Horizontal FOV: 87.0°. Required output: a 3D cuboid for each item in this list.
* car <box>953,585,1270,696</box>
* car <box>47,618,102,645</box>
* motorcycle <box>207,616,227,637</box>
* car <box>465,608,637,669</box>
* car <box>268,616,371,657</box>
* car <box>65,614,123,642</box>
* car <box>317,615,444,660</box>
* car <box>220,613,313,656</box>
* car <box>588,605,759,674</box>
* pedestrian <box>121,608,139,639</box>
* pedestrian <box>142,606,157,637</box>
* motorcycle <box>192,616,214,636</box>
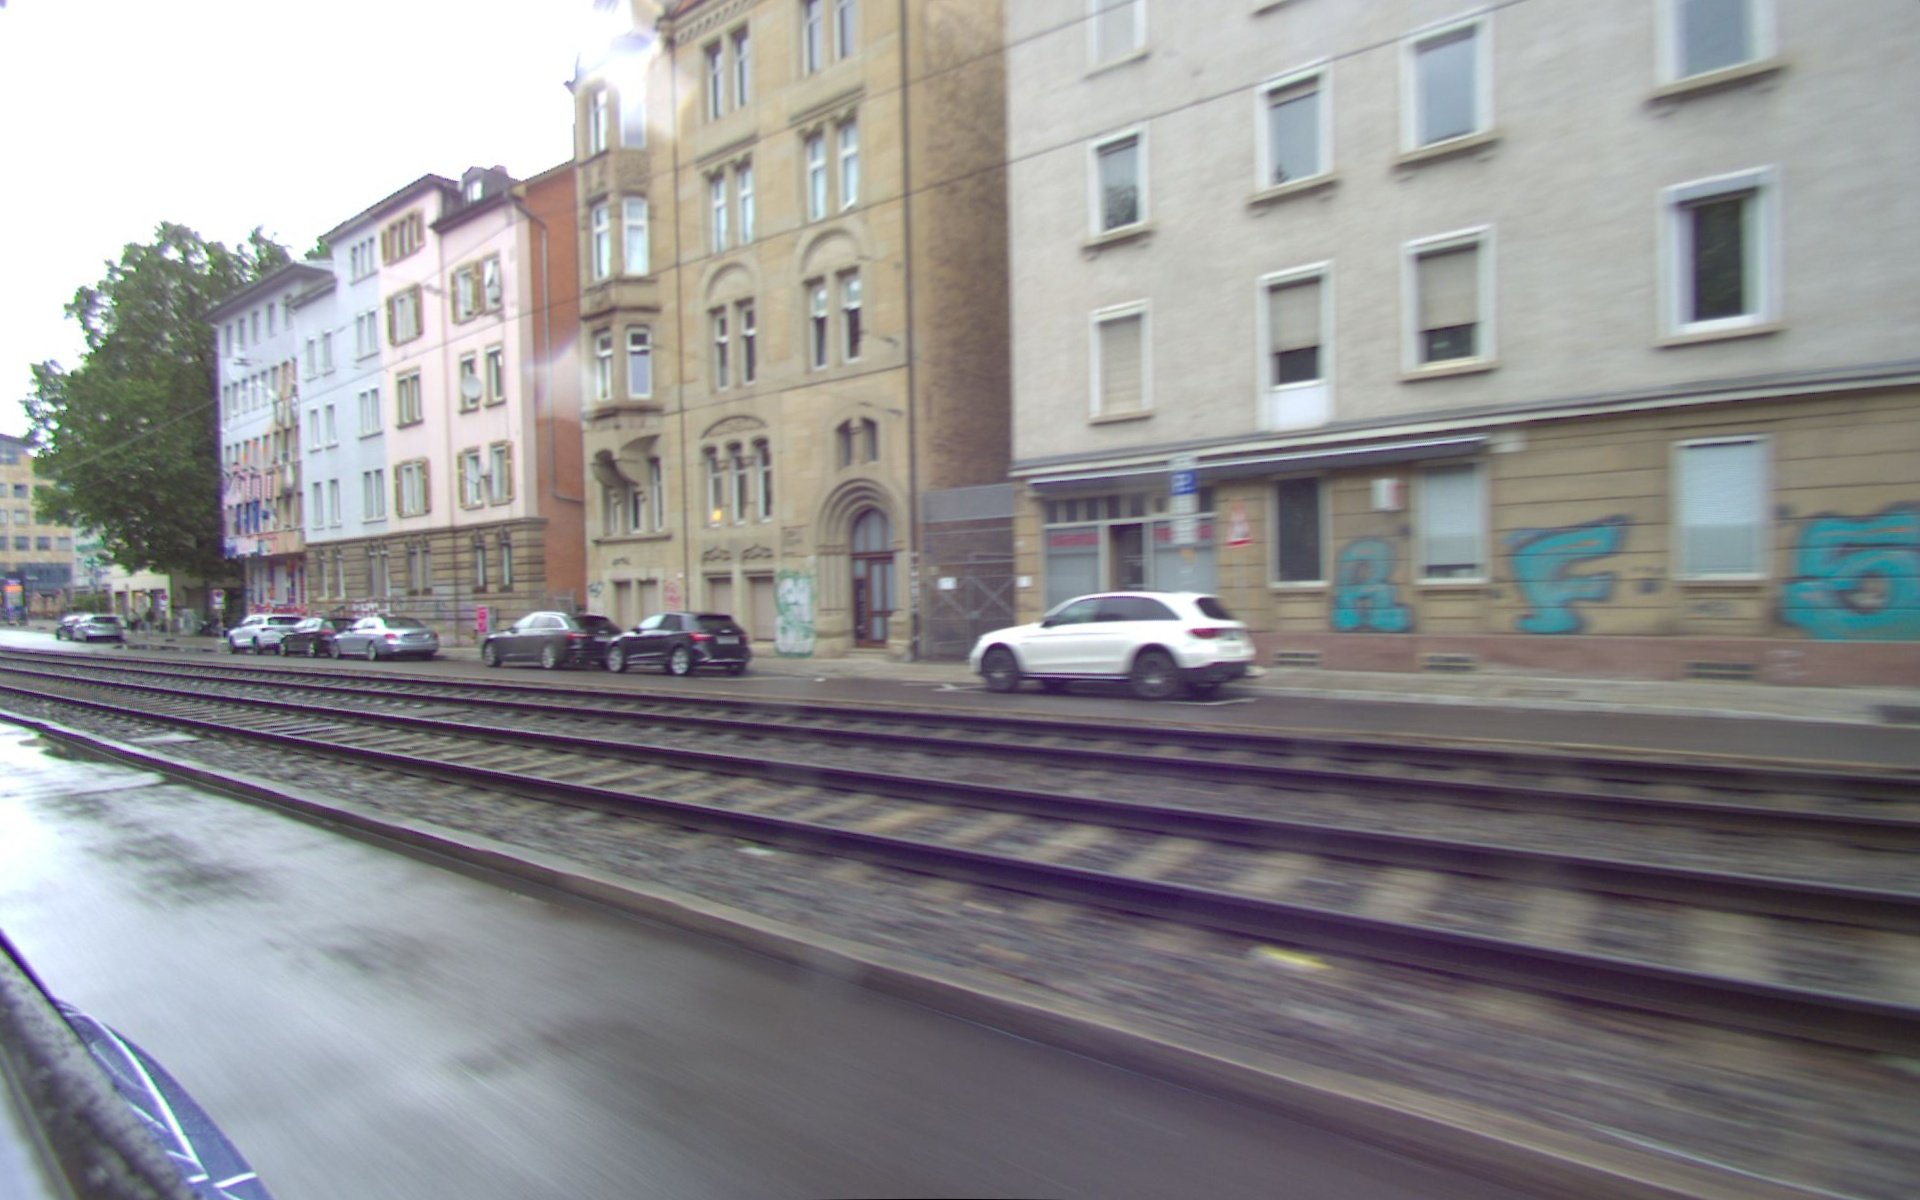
[{"bbox_3d":[2.347,0.650,16.407,4.742,1.548,1.974,-1,-3,38],"label":"car"},{"bbox_3d":[-53.999,1.913,61.696,4.223,1.553,1.820,-1,-2,39],"label":"car"},{"bbox_3d":[-42.886,1.520,58.400,2.015,1.190,0.432,-1,0,39],"label":"motorcycle"},{"bbox_3d":[-10.942,1.024,26.924,5.015,1.467,1.974,-1,-3,38],"label":"car"},{"bbox_3d":[-23.388,1.308,36.902,4.259,1.408,1.821,-1,-2,37],"label":"car"},{"bbox_3d":[-50.050,1.619,58.491,4.223,1.553,1.820,-1,-2,39],"label":"car"},{"bbox_3d":[-19.273,1.241,33.585,5.016,1.408,1.974,-1,-3,39],"label":"car"},{"bbox_3d":[-27.827,1.364,40.566,4.221,1.617,1.821,-1,-2,37],"label":"car"},{"bbox_3d":[-6.740,0.923,23.624,4.164,1.467,1.720,-1,-3,38],"label":"car"},{"bbox_3d":[-51.135,1.442,62.337,0.536,1.883,0.799,-2,-1,42],"label":"pedestrian"},{"bbox_3d":[-50.514,1.328,63.054,0.536,1.883,0.643,-2,-1,42],"label":"pedestrian"},{"bbox_3d":[-45.254,1.568,60.496,2.563,1.154,0.467,-1,0,39],"label":"motorcycle"}]
